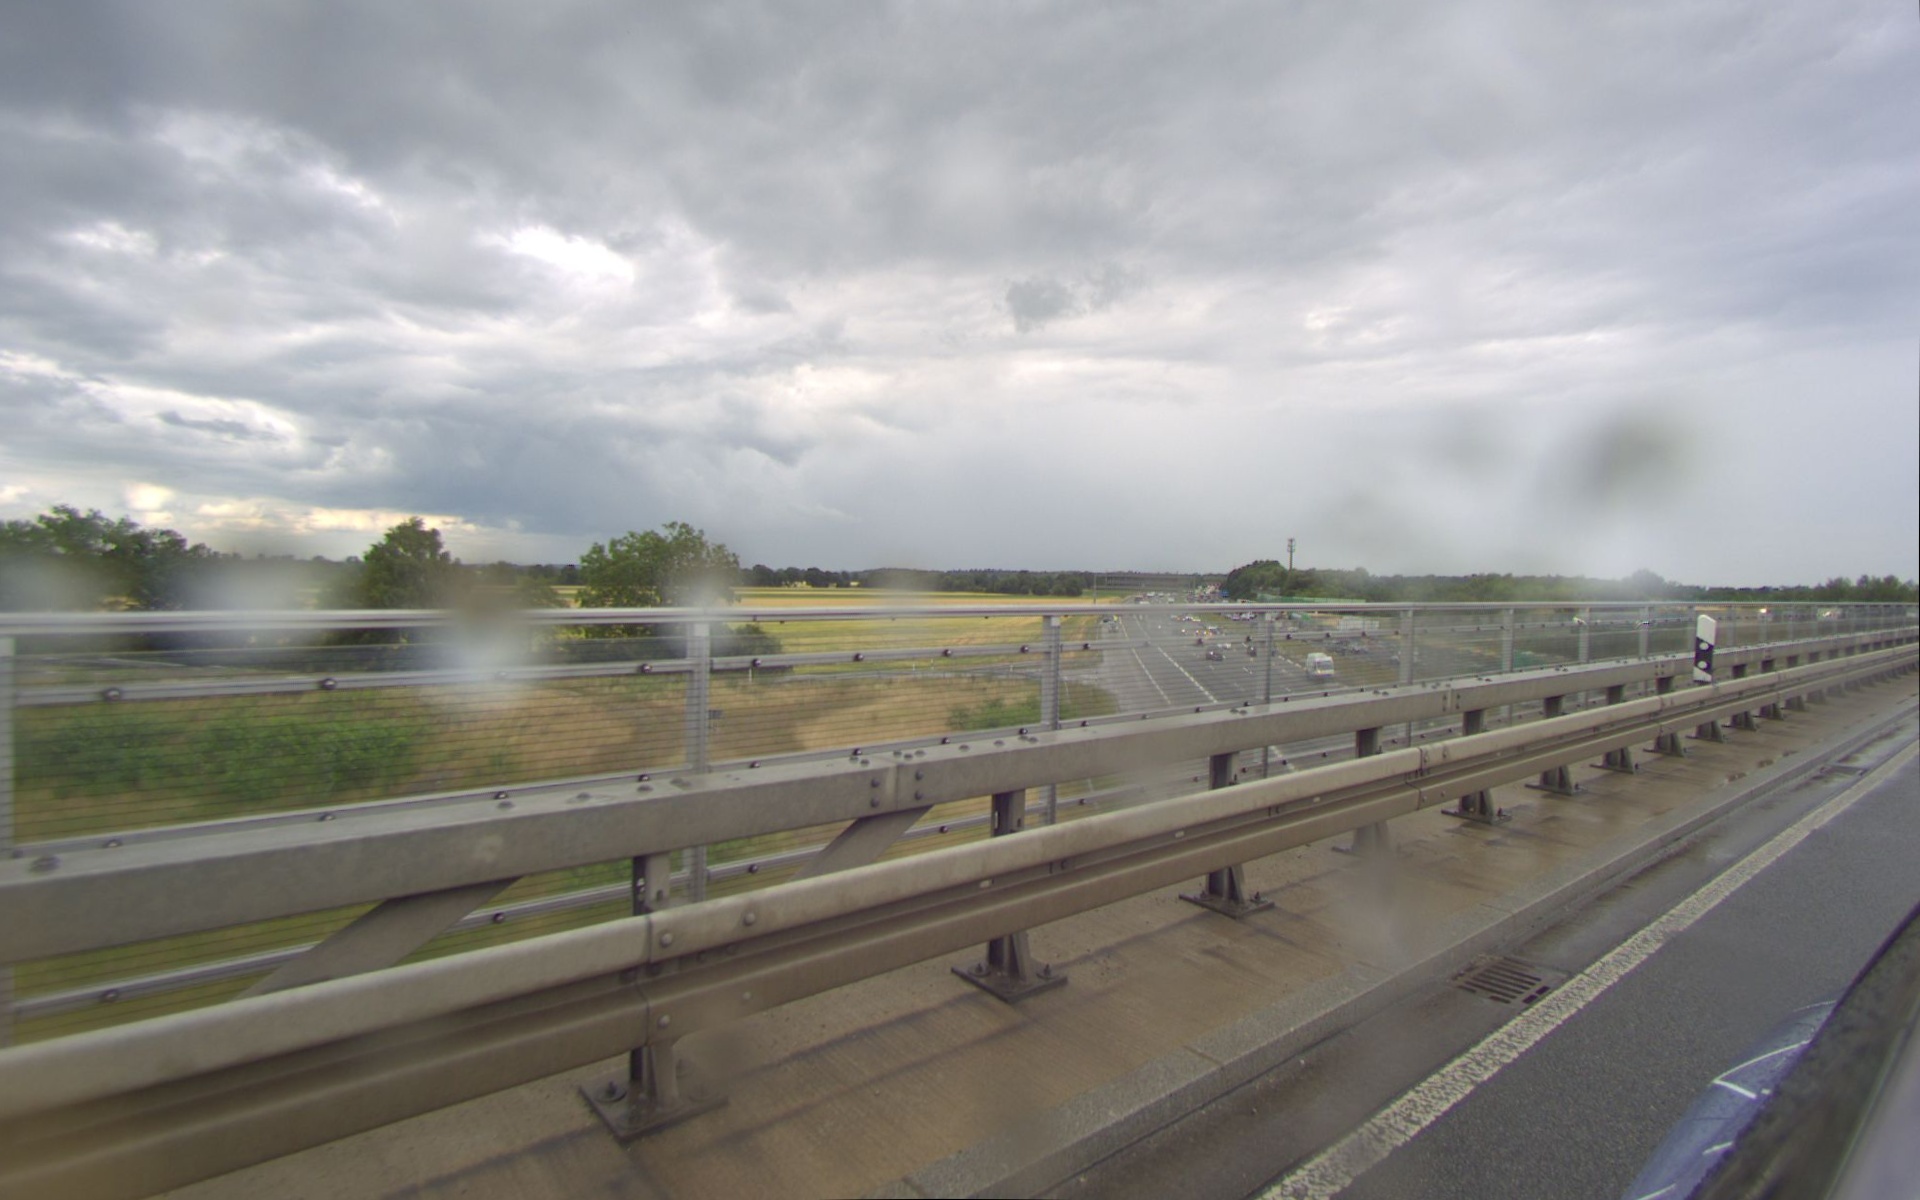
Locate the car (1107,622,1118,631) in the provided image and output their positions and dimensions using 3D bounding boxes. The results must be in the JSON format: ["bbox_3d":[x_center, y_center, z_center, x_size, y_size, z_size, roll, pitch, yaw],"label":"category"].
[{"bbox_3d":[26.417,4.601,175.090,1.784,1.454,4.714,0,0,7],"label":"car"}]

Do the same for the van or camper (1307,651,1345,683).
[{"bbox_3d":[35.377,6.440,98.089,2.026,2.481,7.312,0,0,9],"label":"van or camper"}]

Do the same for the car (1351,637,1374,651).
[{"bbox_3d":[54.193,5.897,136.389,1.826,1.690,4.713,0,0,9],"label":"car"}]

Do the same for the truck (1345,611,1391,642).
[{"bbox_3d":[66.404,4.232,164.991,3.545,4.594,15.588,0,0,9],"label":"truck"}]

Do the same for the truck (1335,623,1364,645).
[{"bbox_3d":[59.535,5.096,154.960,2.175,3.003,9.285,0,0,9],"label":"truck"}]

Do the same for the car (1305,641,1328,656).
[{"bbox_3d":[45.527,6.167,129.283,1.826,1.690,4.713,0,0,9],"label":"car"}]

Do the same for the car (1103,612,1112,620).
[{"bbox_3d":[31.195,3.385,213.372,1.826,1.690,4.713,0,0,9],"label":"car"}]

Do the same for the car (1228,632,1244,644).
[{"bbox_3d":[42.810,5.837,157.179,1.826,1.690,4.713,0,0,9],"label":"car"}]

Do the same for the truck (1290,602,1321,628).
[{"bbox_3d":[74.454,3.127,218.477,3.241,5.230,15.594,0,0,8],"label":"truck"}]

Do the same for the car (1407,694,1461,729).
[{"bbox_3d":[30.331,7.079,64.875,1.784,1.690,4.713,0,0,8],"label":"car"}]

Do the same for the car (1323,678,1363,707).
[{"bbox_3d":[28.853,6.935,76.414,1.784,1.690,4.713,0,0,8],"label":"car"}]

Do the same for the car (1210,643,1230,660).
[{"bbox_3d":[30.344,5.981,118.107,1.826,1.690,4.713,0,0,9],"label":"car"}]

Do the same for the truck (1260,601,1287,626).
[{"bbox_3d":[71.564,2.954,231.499,3.241,5.511,15.594,0,0,8],"label":"truck"}]

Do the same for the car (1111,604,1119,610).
[{"bbox_3d":[37.759,1.766,246.835,1.784,1.454,4.714,0,0,7],"label":"car"}]

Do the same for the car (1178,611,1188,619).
[{"bbox_3d":[48.634,3.207,220.710,1.826,1.690,4.713,0,0,9],"label":"car"}]

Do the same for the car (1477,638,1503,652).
[{"bbox_3d":[73.415,6.211,140.256,1.826,1.690,4.713,0,0,9],"label":"car"}]

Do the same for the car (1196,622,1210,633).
[{"bbox_3d":[40.342,4.525,168.326,1.826,1.690,4.713,0,0,9],"label":"car"}]

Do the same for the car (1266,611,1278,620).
[{"bbox_3d":[64.342,3.176,208.802,1.826,1.797,4.713,0,0,9],"label":"car"}]

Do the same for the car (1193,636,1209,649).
[{"bbox_3d":[33.607,5.914,141.074,1.826,1.690,4.713,0,0,9],"label":"car"}]

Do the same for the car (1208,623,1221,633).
[{"bbox_3d":[46.360,5.116,184.550,1.826,1.690,4.713,0,0,9],"label":"car"}]

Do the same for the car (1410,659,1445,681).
[{"bbox_3d":[45.385,6.780,98.433,1.826,1.690,4.713,0,0,9],"label":"car"}]

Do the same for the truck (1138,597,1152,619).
[{"bbox_3d":[41.542,1.790,226.891,2.751,4.676,12.710,0,0,12],"label":"truck"}]

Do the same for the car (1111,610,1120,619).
[{"bbox_3d":[30.504,2.776,198.433,1.826,1.690,4.713,0,0,9],"label":"car"}]

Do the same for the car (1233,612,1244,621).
[{"bbox_3d":[63.296,3.718,230.363,1.826,1.797,4.713,0,0,9],"label":"car"}]

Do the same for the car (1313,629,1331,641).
[{"bbox_3d":[58.181,5.661,162.748,1.826,1.690,4.713,0,0,9],"label":"car"}]

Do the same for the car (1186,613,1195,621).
[{"bbox_3d":[54.430,4.065,238.802,1.826,1.690,4.713,0,0,9],"label":"car"}]

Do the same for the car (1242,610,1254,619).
[{"bbox_3d":[62.239,3.148,218.864,1.826,1.690,4.713,0,0,9],"label":"car"}]

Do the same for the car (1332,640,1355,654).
[{"bbox_3d":[49.986,6.102,131.833,1.826,1.690,4.713,0,0,9],"label":"car"}]

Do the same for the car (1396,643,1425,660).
[{"bbox_3d":[51.875,5.904,116.562,1.826,1.690,4.713,0,0,9],"label":"car"}]

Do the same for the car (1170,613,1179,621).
[{"bbox_3d":[49.129,3.846,231.858,1.826,1.690,4.713,0,0,9],"label":"car"}]

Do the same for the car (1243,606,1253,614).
[{"bbox_3d":[70.967,2.528,249.524,1.826,1.797,4.713,0,0,9],"label":"car"}]

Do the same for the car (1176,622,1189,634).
[{"bbox_3d":[36.768,4.604,167.394,1.826,1.690,4.713,0,0,9],"label":"car"}]

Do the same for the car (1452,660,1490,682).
[{"bbox_3d":[49.172,6.797,97.417,1.826,1.690,4.713,0,0,9],"label":"car"}]

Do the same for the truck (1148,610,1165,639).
[{"bbox_3d":[35.573,4.319,183.165,2.751,4.962,12.710,0,0,12],"label":"truck"}]

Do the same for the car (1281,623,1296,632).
[{"bbox_3d":[60.996,5.095,187.954,1.826,1.690,4.713,0,0,9],"label":"car"}]

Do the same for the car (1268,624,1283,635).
[{"bbox_3d":[56.063,5.260,180.041,1.826,1.690,4.713,0,0,9],"label":"car"}]

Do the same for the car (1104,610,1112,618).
[{"bbox_3d":[33.182,3.215,226.440,1.826,1.690,4.713,0,0,9],"label":"car"}]

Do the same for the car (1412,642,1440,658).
[{"bbox_3d":[58.136,6.209,126.309,1.826,1.690,4.713,0,0,9],"label":"car"}]

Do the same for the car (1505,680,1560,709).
[{"bbox_3d":[42.247,6.932,74.819,1.825,1.690,4.715,0,0,7],"label":"car"}]

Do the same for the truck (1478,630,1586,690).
[{"bbox_3d":[53.042,5.335,94.602,3.545,4.594,15.588,0,0,9],"label":"truck"}]

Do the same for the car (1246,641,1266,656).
[{"bbox_3d":[38.204,6.269,130.501,1.826,1.690,4.713,0,0,9],"label":"car"}]

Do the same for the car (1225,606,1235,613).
[{"bbox_3d":[67.650,2.429,253.741,1.826,1.797,4.713,0,0,9],"label":"car"}]
